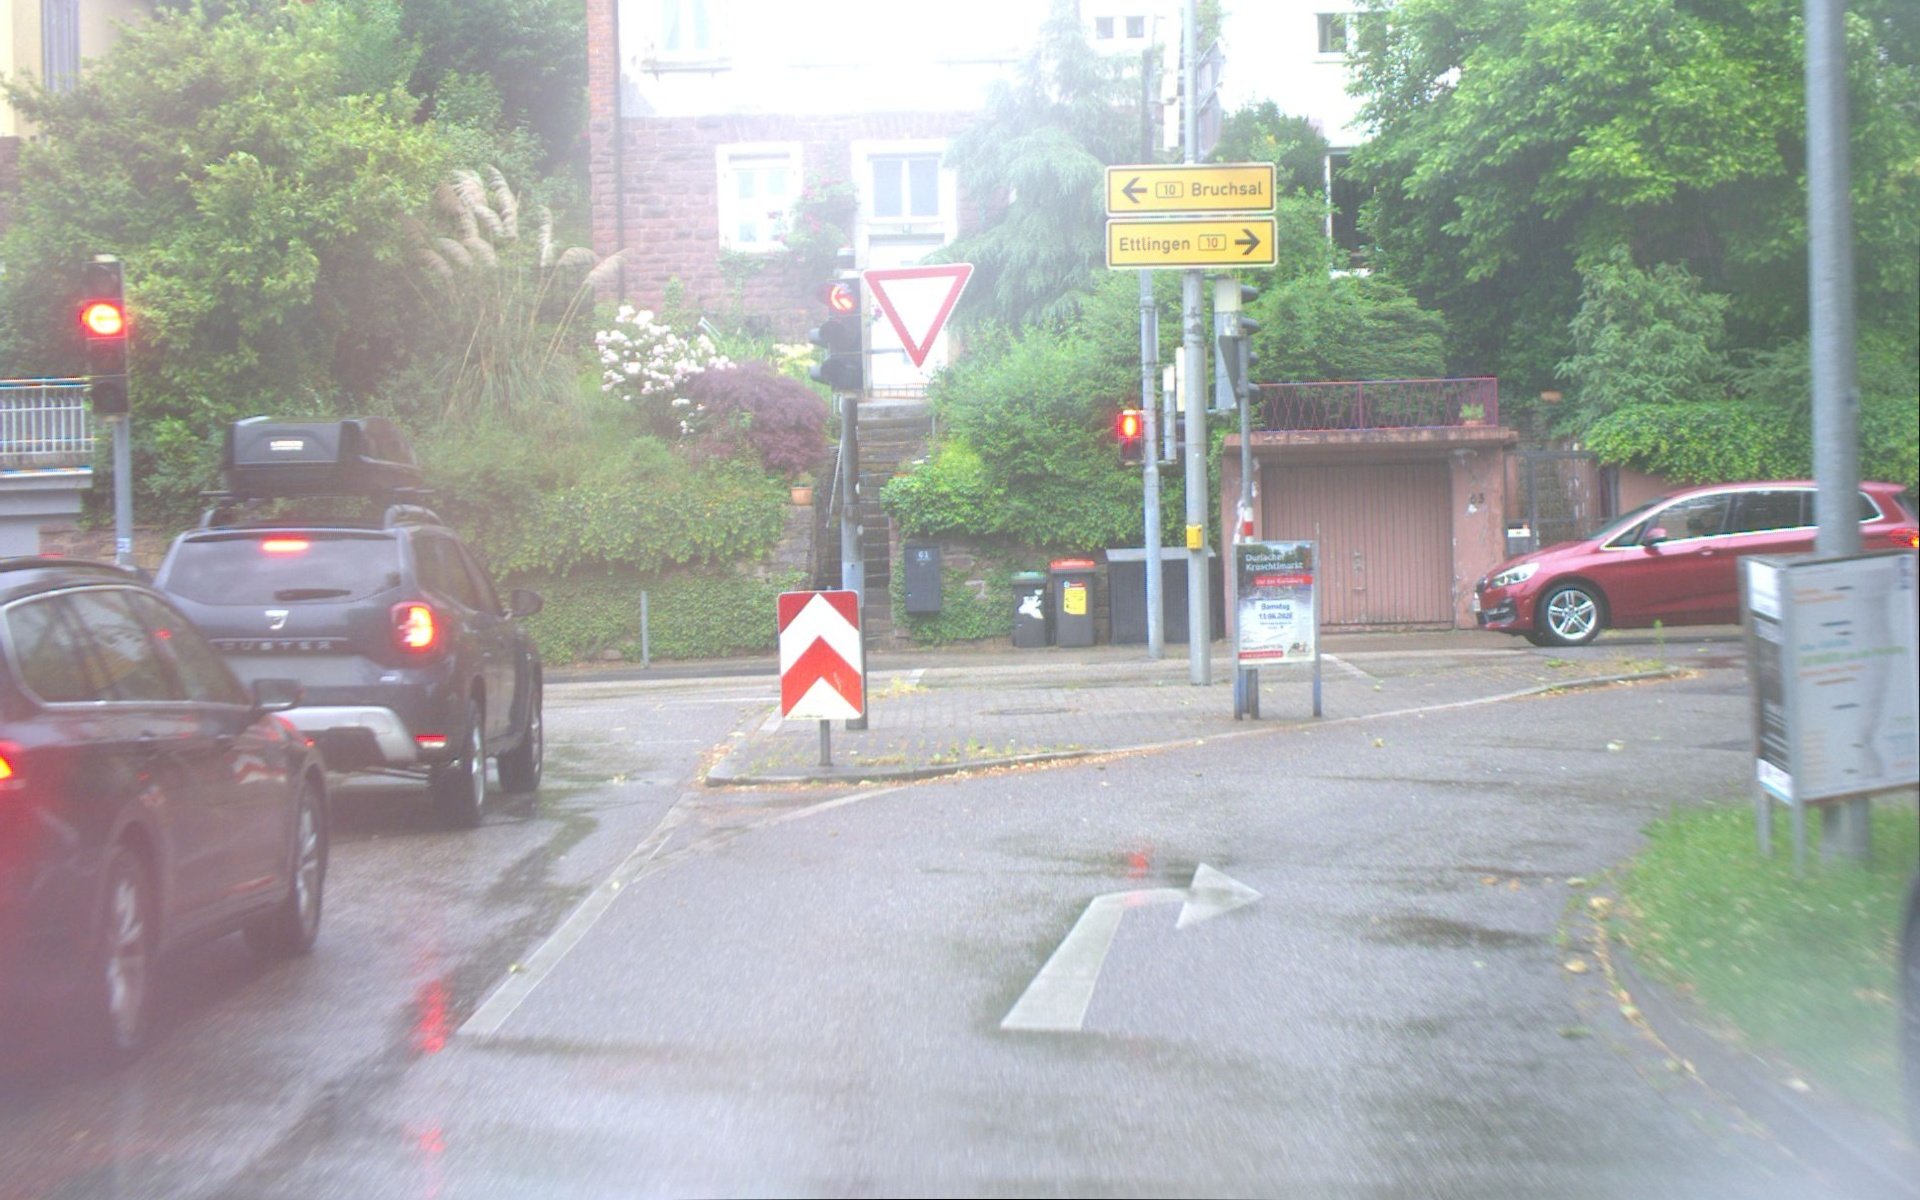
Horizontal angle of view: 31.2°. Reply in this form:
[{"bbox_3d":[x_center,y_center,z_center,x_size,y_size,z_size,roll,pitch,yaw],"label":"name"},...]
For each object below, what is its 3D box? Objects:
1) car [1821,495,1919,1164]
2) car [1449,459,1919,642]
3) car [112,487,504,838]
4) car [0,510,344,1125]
[{"bbox_3d":[3.016,0.540,6.712,1.749,1.486,3.600,1,1,0],"label":"car"},{"bbox_3d":[7.352,-0.482,34.663,4.568,1.595,1.775,-3,0,2],"label":"car"},{"bbox_3d":[-3.477,0.229,19.058,1.760,1.705,4.602,0,2,-6],"label":"car"},{"bbox_3d":[-3.262,0.471,10.788,1.831,1.451,4.659,1,2,0],"label":"car"}]
